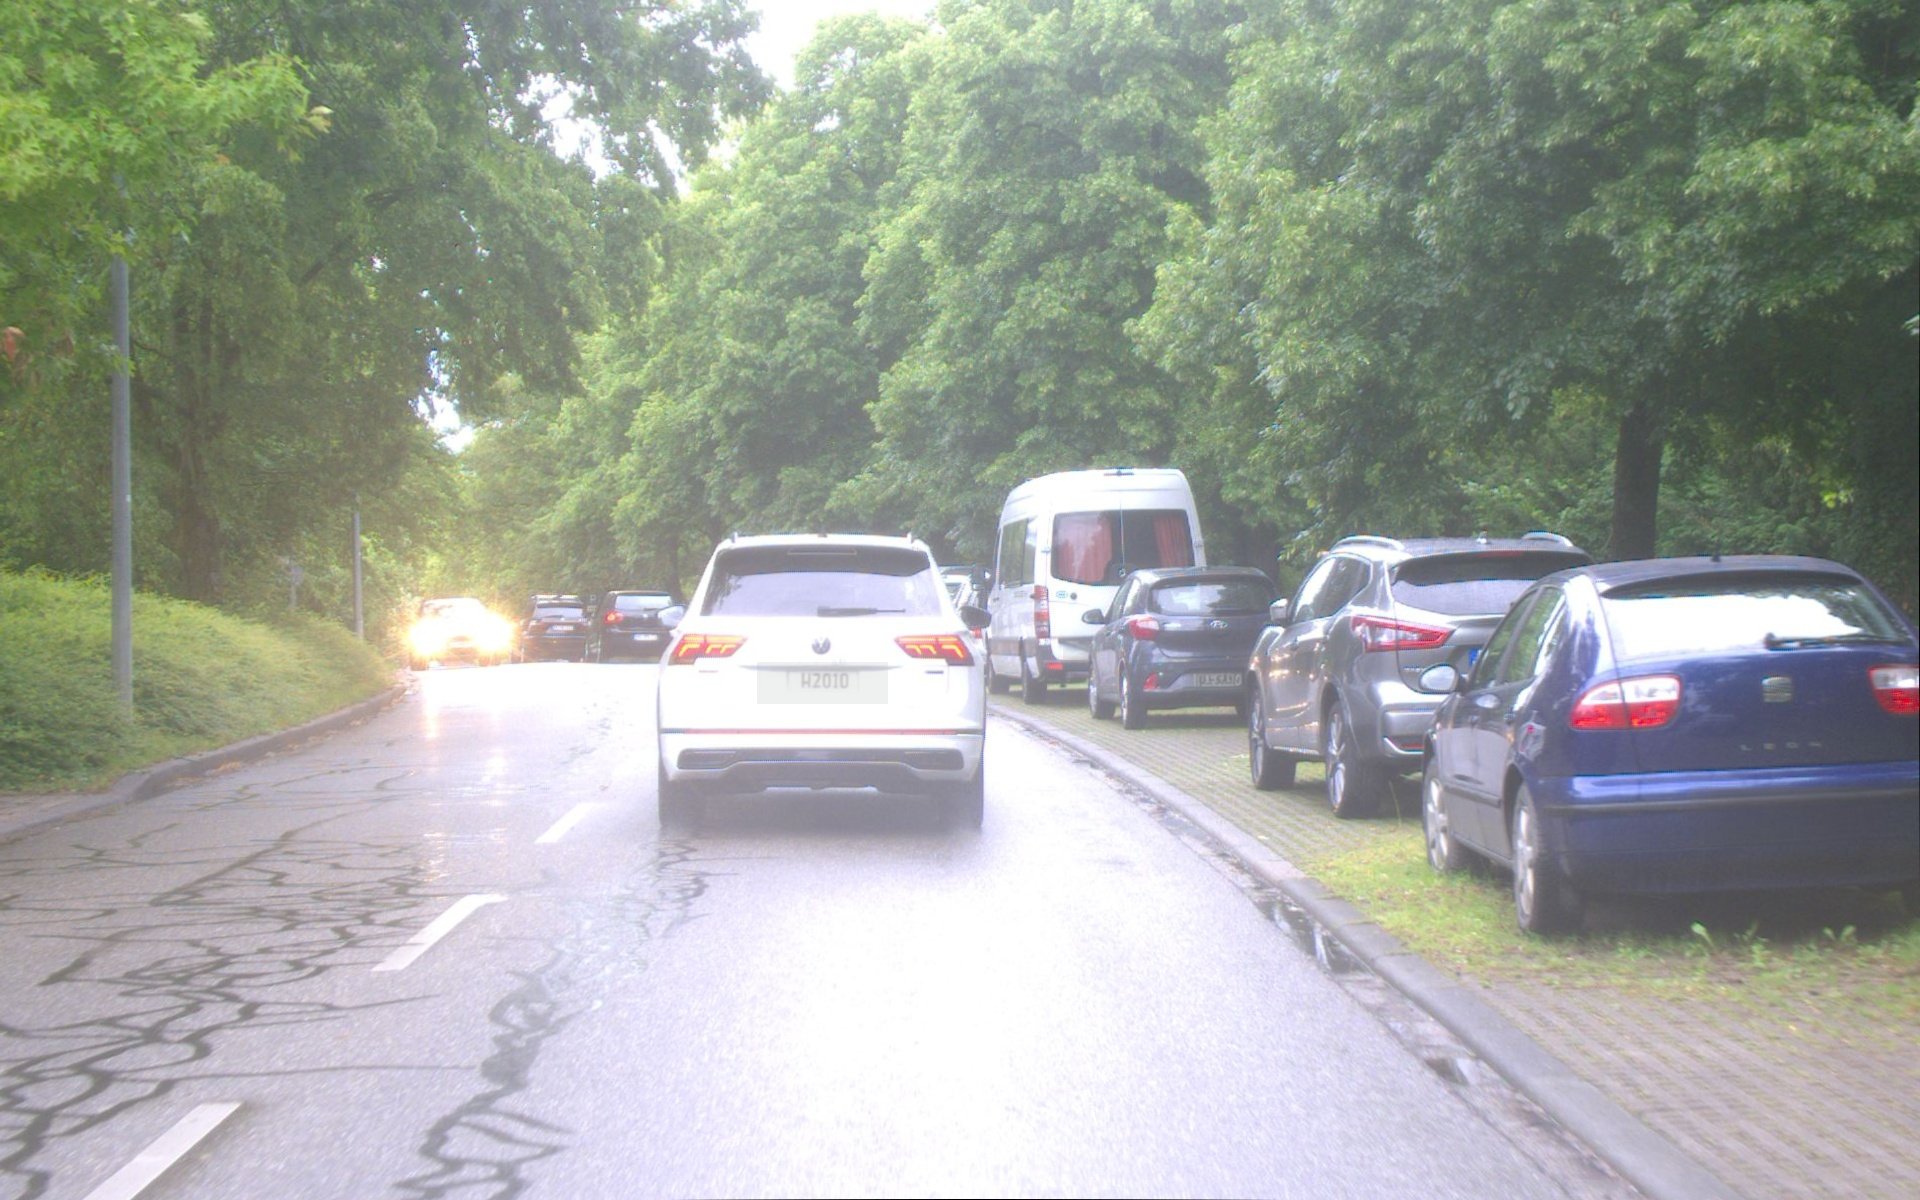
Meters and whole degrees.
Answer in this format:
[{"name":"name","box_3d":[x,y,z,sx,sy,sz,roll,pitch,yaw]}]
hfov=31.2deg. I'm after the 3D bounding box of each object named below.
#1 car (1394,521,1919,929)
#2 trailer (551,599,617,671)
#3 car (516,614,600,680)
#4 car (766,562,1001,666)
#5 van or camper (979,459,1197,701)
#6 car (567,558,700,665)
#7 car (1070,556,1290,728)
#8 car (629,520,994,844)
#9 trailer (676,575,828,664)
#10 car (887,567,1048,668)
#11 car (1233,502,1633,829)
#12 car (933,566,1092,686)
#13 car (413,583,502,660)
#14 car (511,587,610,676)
[{"name":"car","box_3d":[2.920,0.407,14.251,1.743,1.447,4.000,0,1,0]},{"name":"trailer","box_3d":[-11.810,1.113,107.844,1.529,2.069,4.000,-2,-2,-13]},{"name":"car","box_3d":[-13.178,1.562,112.436,1.993,1.903,5.509,0,-3,-15]},{"name":"car","box_3d":[-1.356,0.256,59.843,4.003,1.675,1.608,-2,-1,40]},{"name":"van or camper","box_3d":[1.406,-0.298,41.302,2.016,2.574,8.436,1,1,-2]},{"name":"car","box_3d":[-6.651,0.197,69.656,1.993,2.006,4.002,0,2,-16]},{"name":"car","box_3d":[2.052,0.357,33.043,1.865,1.506,3.725,-1,1,0]},{"name":"car","box_3d":[-0.902,0.399,20.378,1.905,1.679,4.201,-1,1,-3]},{"name":"trailer","box_3d":[-4.692,0.461,76.671,2.448,1.807,5.893,-1,-1,-12]},{"name":"car","box_3d":[0.069,0.239,54.507,1.993,1.492,4.567,-1,1,-7]},{"name":"car","box_3d":[2.711,0.313,20.590,1.781,1.713,4.261,-1,1,0]},{"name":"car","box_3d":[0.681,0.328,48.057,1.805,1.534,4.268,-2,1,-4]},{"name":"car","box_3d":[-10.597,0.433,72.641,1.665,1.472,3.733,-3,1,-6]},{"name":"car","box_3d":[-9.971,0.757,85.561,1.993,2.006,4.002,0,2,-13]}]
